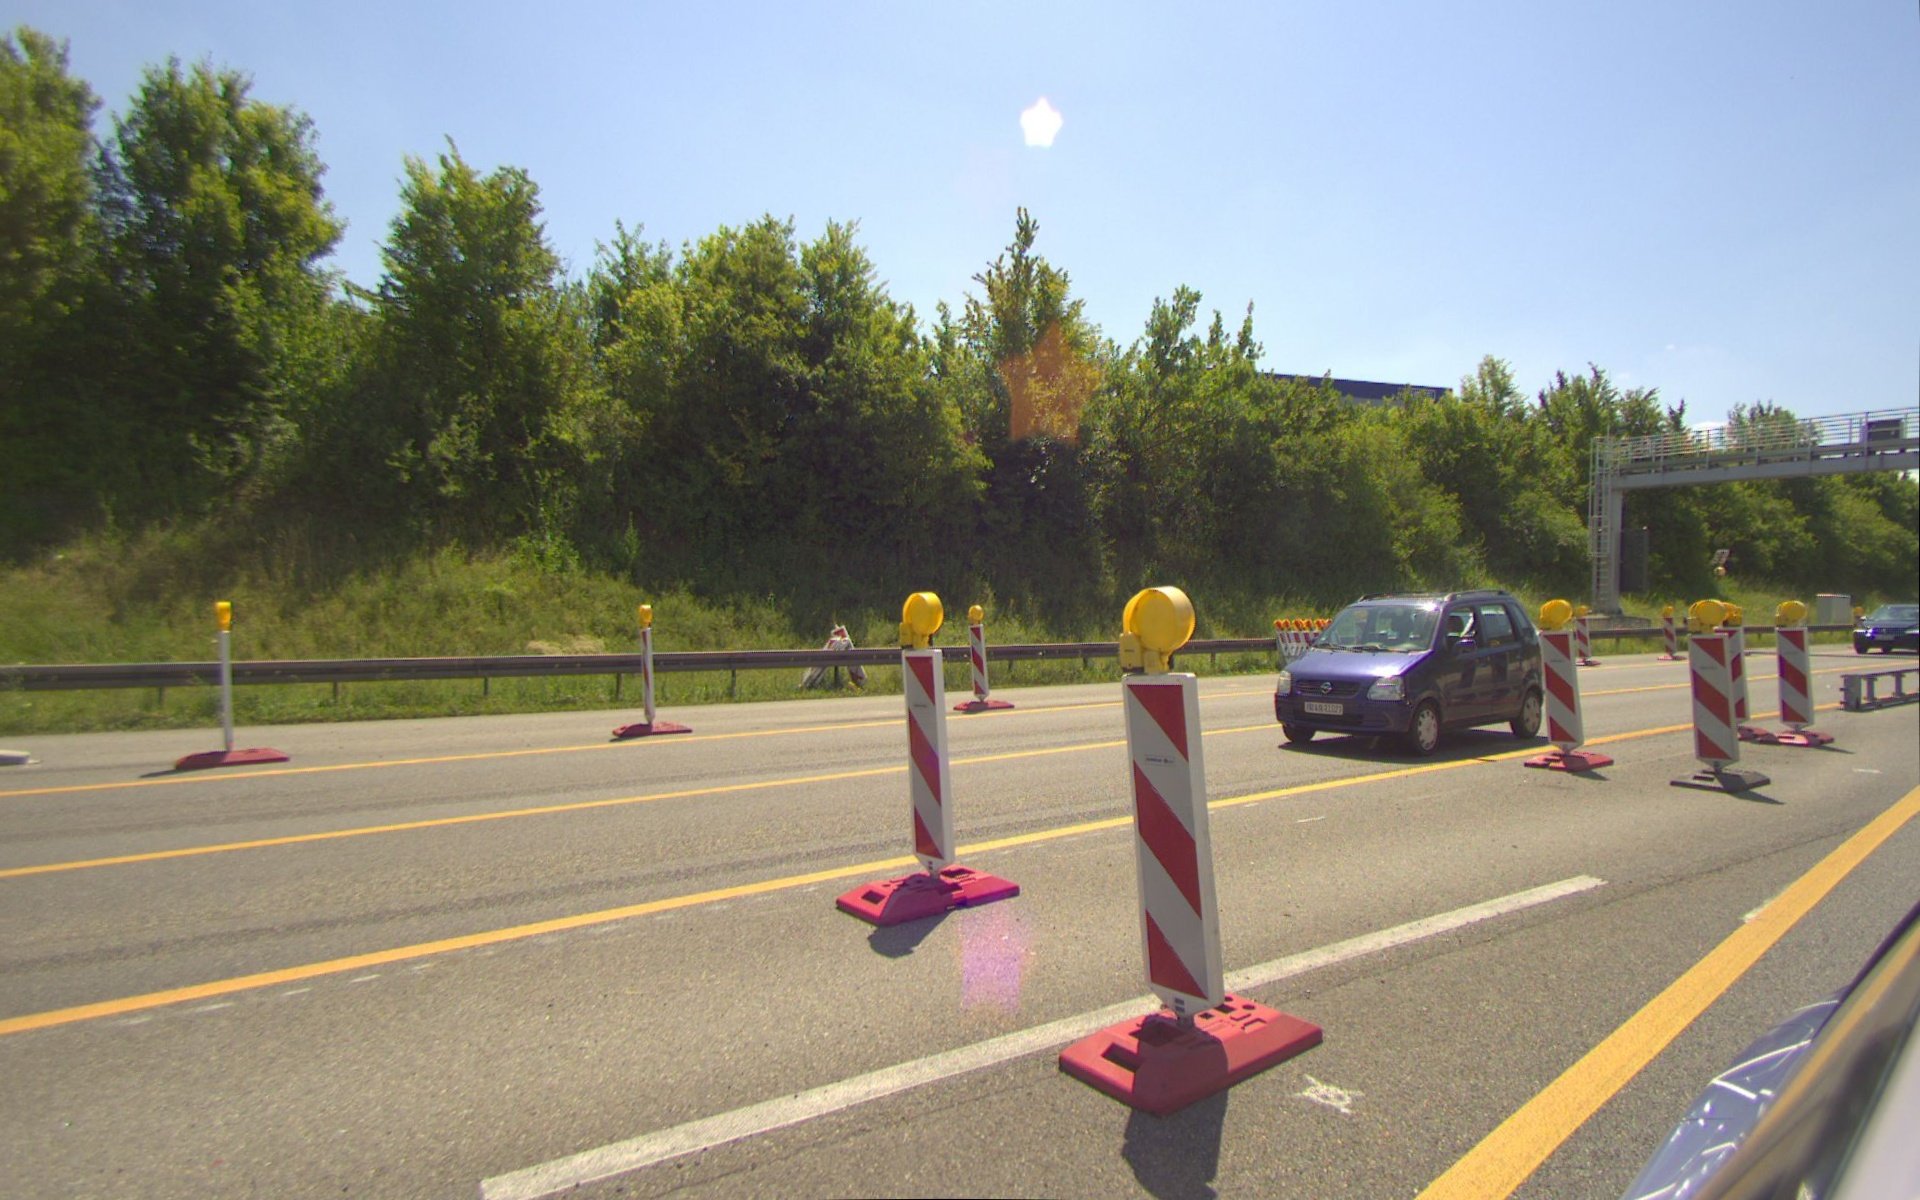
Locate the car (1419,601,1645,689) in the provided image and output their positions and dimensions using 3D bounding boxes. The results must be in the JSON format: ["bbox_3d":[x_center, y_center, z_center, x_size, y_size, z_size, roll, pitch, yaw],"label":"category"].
[{"bbox_3d":[10.898,0.758,19.180,4.562,1.483,1.822,0,0,-33],"label":"car"}]

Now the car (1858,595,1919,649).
[{"bbox_3d":[32.401,0.706,34.192,5.138,1.683,2.025,0,0,-36],"label":"car"}]

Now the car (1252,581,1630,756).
[{"bbox_3d":[5.632,0.652,11.668,4.562,1.663,1.822,0,0,-33],"label":"car"}]
